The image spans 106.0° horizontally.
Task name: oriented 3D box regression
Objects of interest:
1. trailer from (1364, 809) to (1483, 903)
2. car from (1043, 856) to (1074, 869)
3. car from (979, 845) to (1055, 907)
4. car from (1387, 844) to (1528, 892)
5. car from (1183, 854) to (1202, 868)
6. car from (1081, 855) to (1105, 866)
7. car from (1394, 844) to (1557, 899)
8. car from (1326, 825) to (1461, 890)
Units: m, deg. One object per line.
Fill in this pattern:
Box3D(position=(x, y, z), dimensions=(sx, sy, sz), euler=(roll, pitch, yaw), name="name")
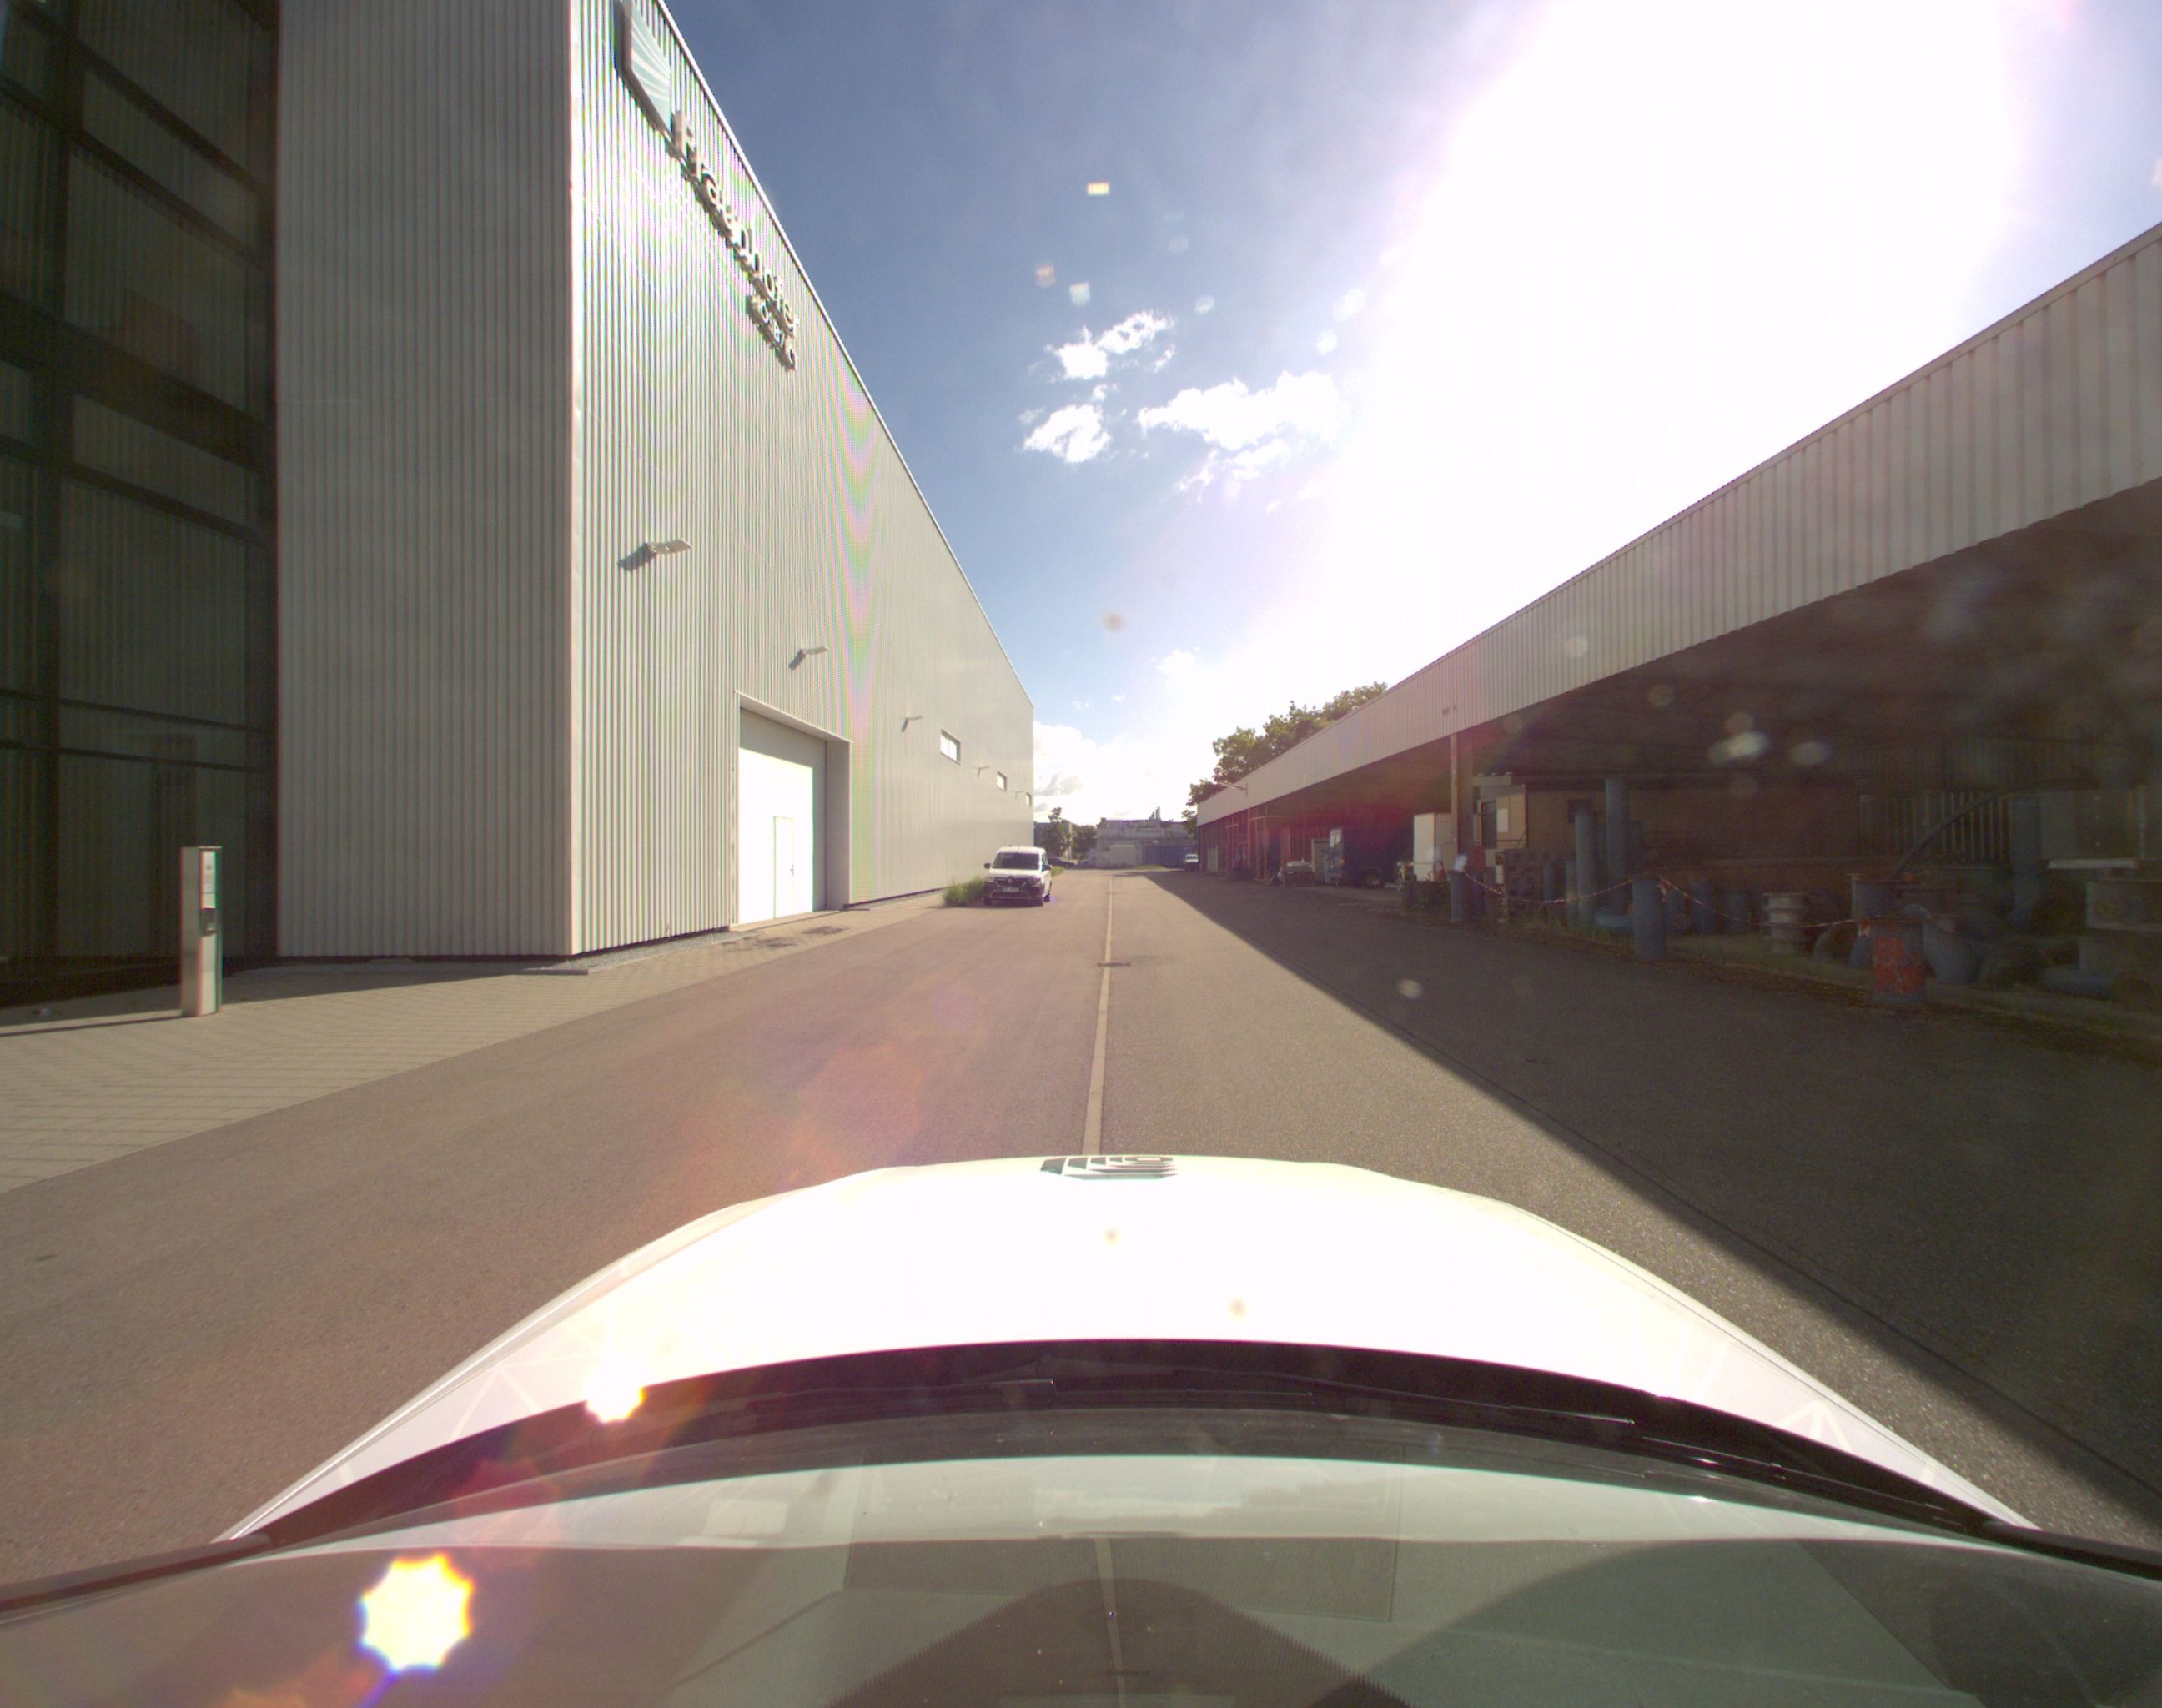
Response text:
Box3D(position=(9.172, 0.065, 21.972), dimensions=(2.513, 2.399, 1.728), euler=(-1, -1, 3), name="trailer")
Box3D(position=(-2.959, 1.124, 108.060), dimensions=(3.973, 1.598, 1.741), euler=(1, -2, 1), name="car")
Box3D(position=(-1.919, 0.626, 25.743), dimensions=(1.811, 1.787, 4.408), euler=(1, 0, 3), name="car")
Box3D(position=(12.673, 0.484, 27.564), dimensions=(4.021, 1.525, 1.685), euler=(1, -2, 3), name="car")
Box3D(position=(12.982, 0.846, 95.184), dimensions=(1.953, 1.564, 4.063), euler=(1, 0, 4), name="car")
Box3D(position=(1.953, 1.097, 135.828), dimensions=(3.973, 1.598, 1.848), euler=(1, -2, 1), name="car")
Box3D(position=(11.617, 0.537, 24.167), dimensions=(4.021, 1.525, 1.685), euler=(1, -2, 3), name="car")
Box3D(position=(11.688, 0.172, 30.694), dimensions=(4.414, 2.310, 1.916), euler=(1, -2, 3), name="car")
